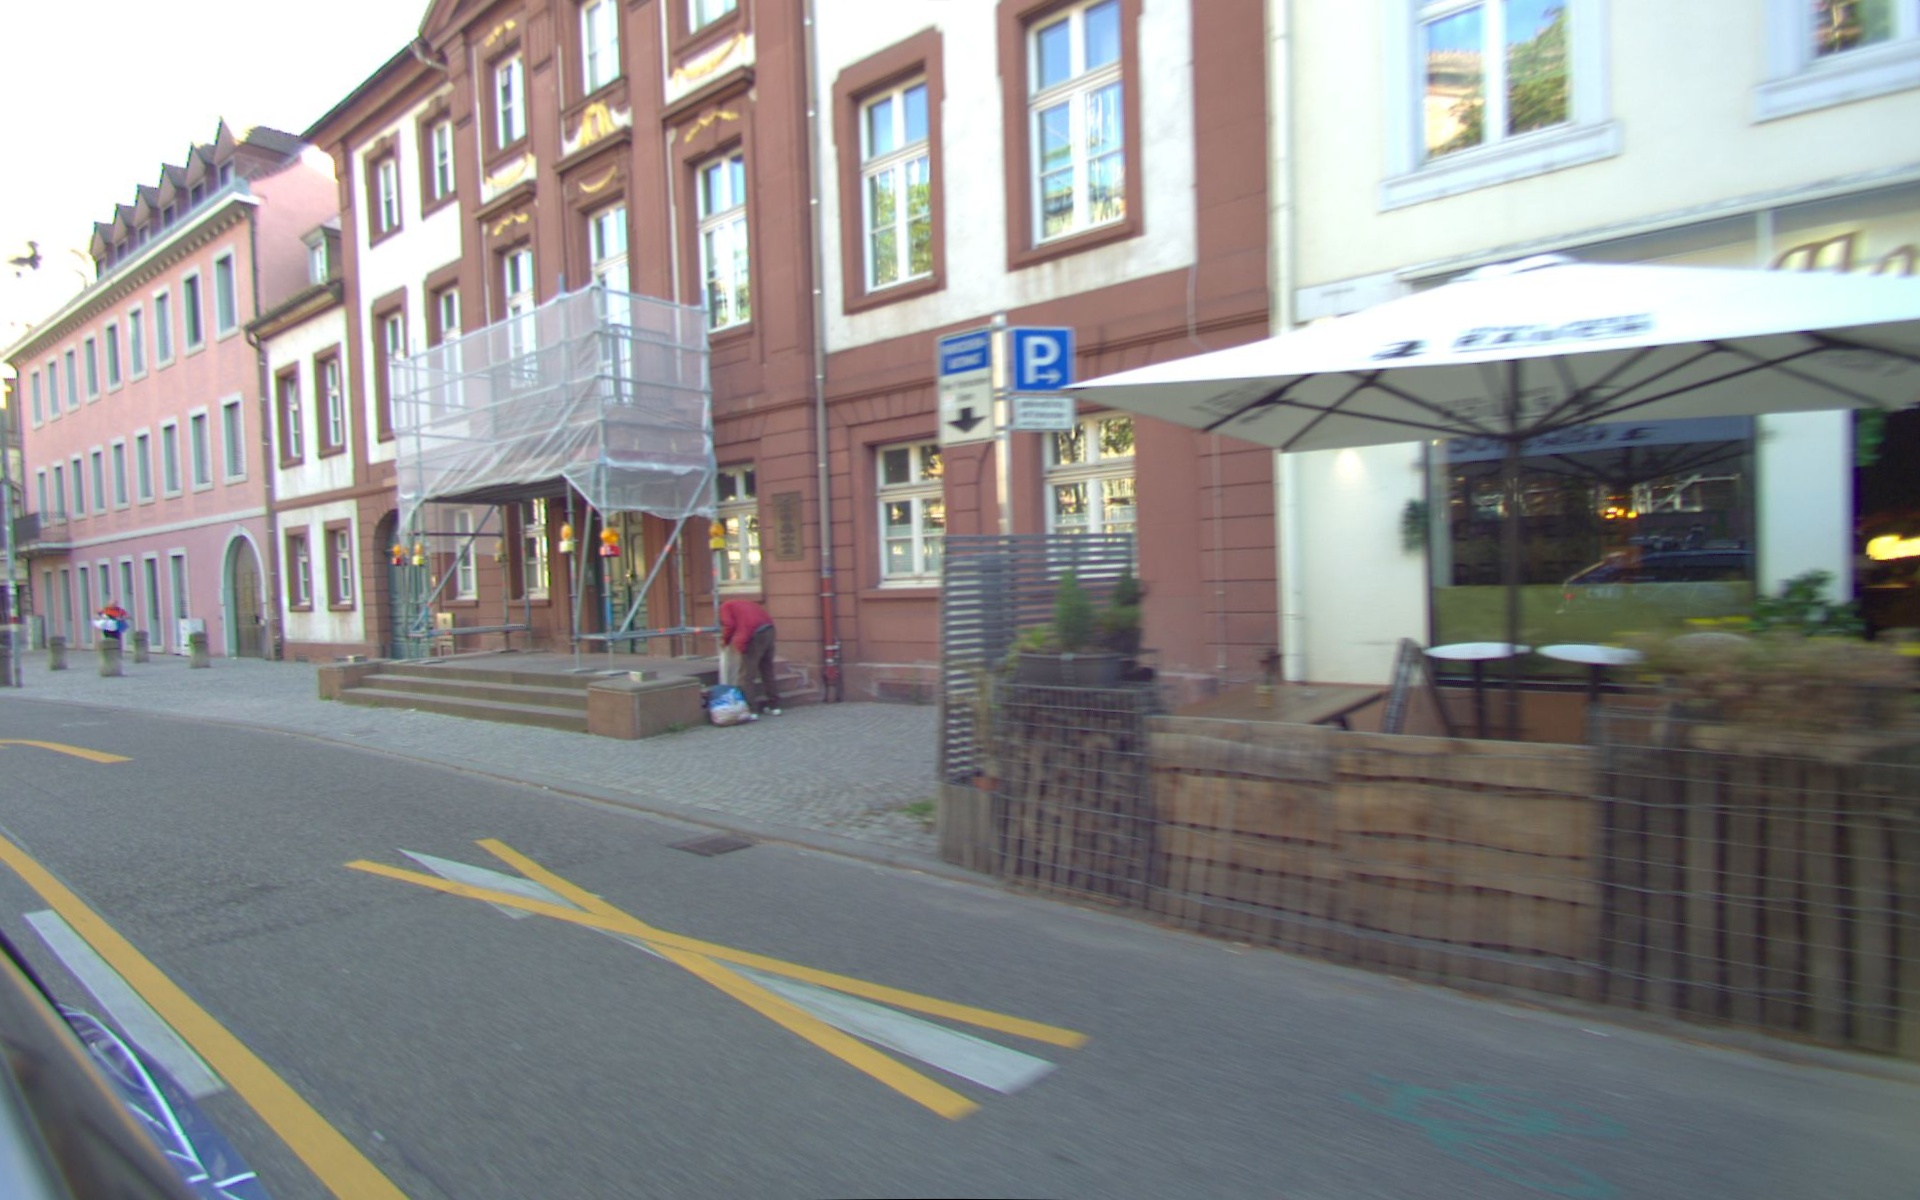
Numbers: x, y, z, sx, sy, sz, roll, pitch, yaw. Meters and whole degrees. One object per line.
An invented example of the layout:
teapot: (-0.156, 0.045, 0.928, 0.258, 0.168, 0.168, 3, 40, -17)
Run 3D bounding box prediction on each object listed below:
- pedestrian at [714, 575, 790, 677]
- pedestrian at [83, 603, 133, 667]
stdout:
pedestrian: (-2.272, 0.275, 11.051, 0.550, 1.060, 0.532, -1, 2, 36)
pedestrian: (-23.755, 0.951, 28.214, 0.867, 1.701, 0.784, -1, 3, 37)
